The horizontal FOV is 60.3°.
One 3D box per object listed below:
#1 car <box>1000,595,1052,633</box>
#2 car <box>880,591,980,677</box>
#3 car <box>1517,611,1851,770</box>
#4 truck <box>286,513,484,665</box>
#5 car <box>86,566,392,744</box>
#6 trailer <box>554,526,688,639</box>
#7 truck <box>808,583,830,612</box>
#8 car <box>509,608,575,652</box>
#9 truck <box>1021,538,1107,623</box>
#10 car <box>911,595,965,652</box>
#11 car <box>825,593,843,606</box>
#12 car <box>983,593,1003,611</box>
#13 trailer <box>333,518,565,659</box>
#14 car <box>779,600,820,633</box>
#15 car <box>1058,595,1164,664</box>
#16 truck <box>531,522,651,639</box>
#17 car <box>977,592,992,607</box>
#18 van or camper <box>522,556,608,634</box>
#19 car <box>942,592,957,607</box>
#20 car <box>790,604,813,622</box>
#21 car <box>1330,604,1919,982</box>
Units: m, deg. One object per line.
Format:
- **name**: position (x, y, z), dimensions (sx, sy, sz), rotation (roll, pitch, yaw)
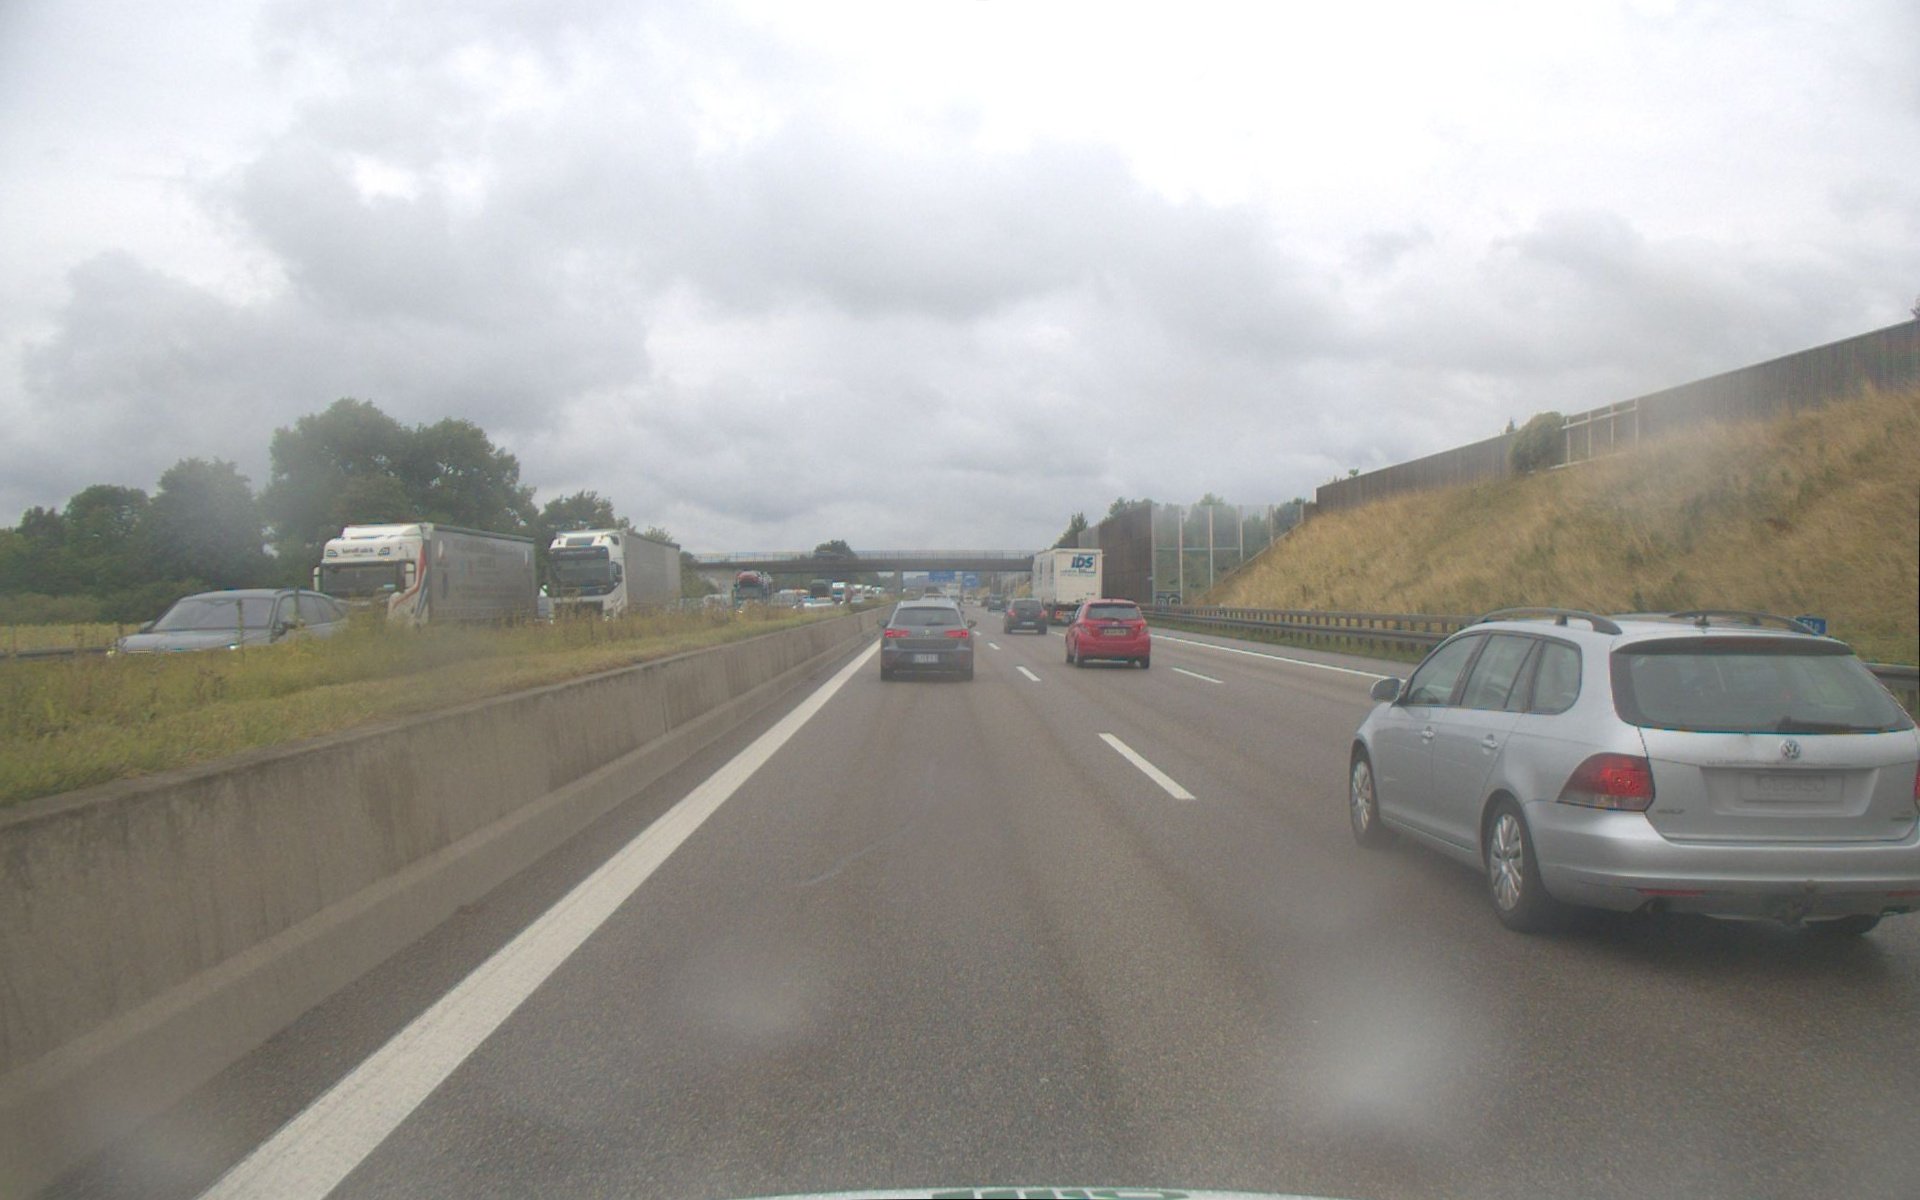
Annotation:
- **car**: position (2.761, 0.563, 69.771), dimensions (1.882, 1.548, 4.621), rotation (0, 0, -2)
- **car**: position (-0.574, 0.607, 31.007), dimensions (1.733, 1.493, 3.998), rotation (1, 0, -2)
- **car**: position (7.277, 0.840, 17.069), dimensions (1.668, 1.426, 3.874), rotation (1, 0, -2)
- **truck**: position (-17.708, -0.298, 51.592), dimensions (3.542, 4.349, 7.589), rotation (1, 0, -1)
- **car**: position (-9.264, 0.628, 21.759), dimensions (1.953, 2.049, 4.800), rotation (-1, 0, -1)
- **trailer**: position (-13.624, -0.603, 67.728), dimensions (3.023, 4.160, 12.327), rotation (1, 0, -1)
- **truck**: position (-20.230, -0.360, 237.217), dimensions (2.701, 4.121, 6.253), rotation (1, 0, -1)
- **car**: position (-18.837, 1.327, 74.718), dimensions (2.050, 1.784, 5.129), rotation (2, 0, -5)
- **truck**: position (5.759, -0.941, 95.365), dimensions (3.217, 4.370, 19.027), rotation (1, 0, -1)
- **car**: position (-0.768, 0.784, 57.474), dimensions (1.789, 1.882, 3.999), rotation (-1, 0, -1)
- **car**: position (-16.903, -0.054, 221.443), dimensions (2.051, 1.740, 4.800), rotation (0, 0, 0)
- **car**: position (3.274, 0.227, 164.479), dimensions (1.808, 1.716, 3.998), rotation (1, 0, -2)
- **trailer**: position (-17.838, -0.319, 59.499), dimensions (3.637, 4.346, 15.620), rotation (1, 0, -1)
- **car**: position (-9.345, 0.922, 96.576), dimensions (1.953, 1.795, 5.070), rotation (-1, 0, -1)
- **car**: position (3.405, 0.622, 38.058), dimensions (1.853, 1.472, 4.683), rotation (0, 0, -2)
- **truck**: position (-13.523, -0.676, 61.109), dimensions (3.029, 4.045, 6.370), rotation (1, 0, -1)
- **car**: position (3.335, -0.082, 226.059), dimensions (1.953, 1.843, 4.227), rotation (-2, 0, -1)
- **van or camper**: position (-19.263, -0.215, 81.088), dimensions (2.655, 3.564, 7.695), rotation (1, 0, -3)
- **car**: position (-1.488, -0.104, 232.220), dimensions (1.953, 2.049, 4.240), rotation (1, 0, -1)
- **car**: position (-16.264, 1.336, 169.547), dimensions (2.051, 1.740, 5.163), rotation (0, 0, -2)
- **car**: position (3.378, 0.766, 8.804), dimensions (1.706, 1.450, 4.515), rotation (-1, 0, -1)
